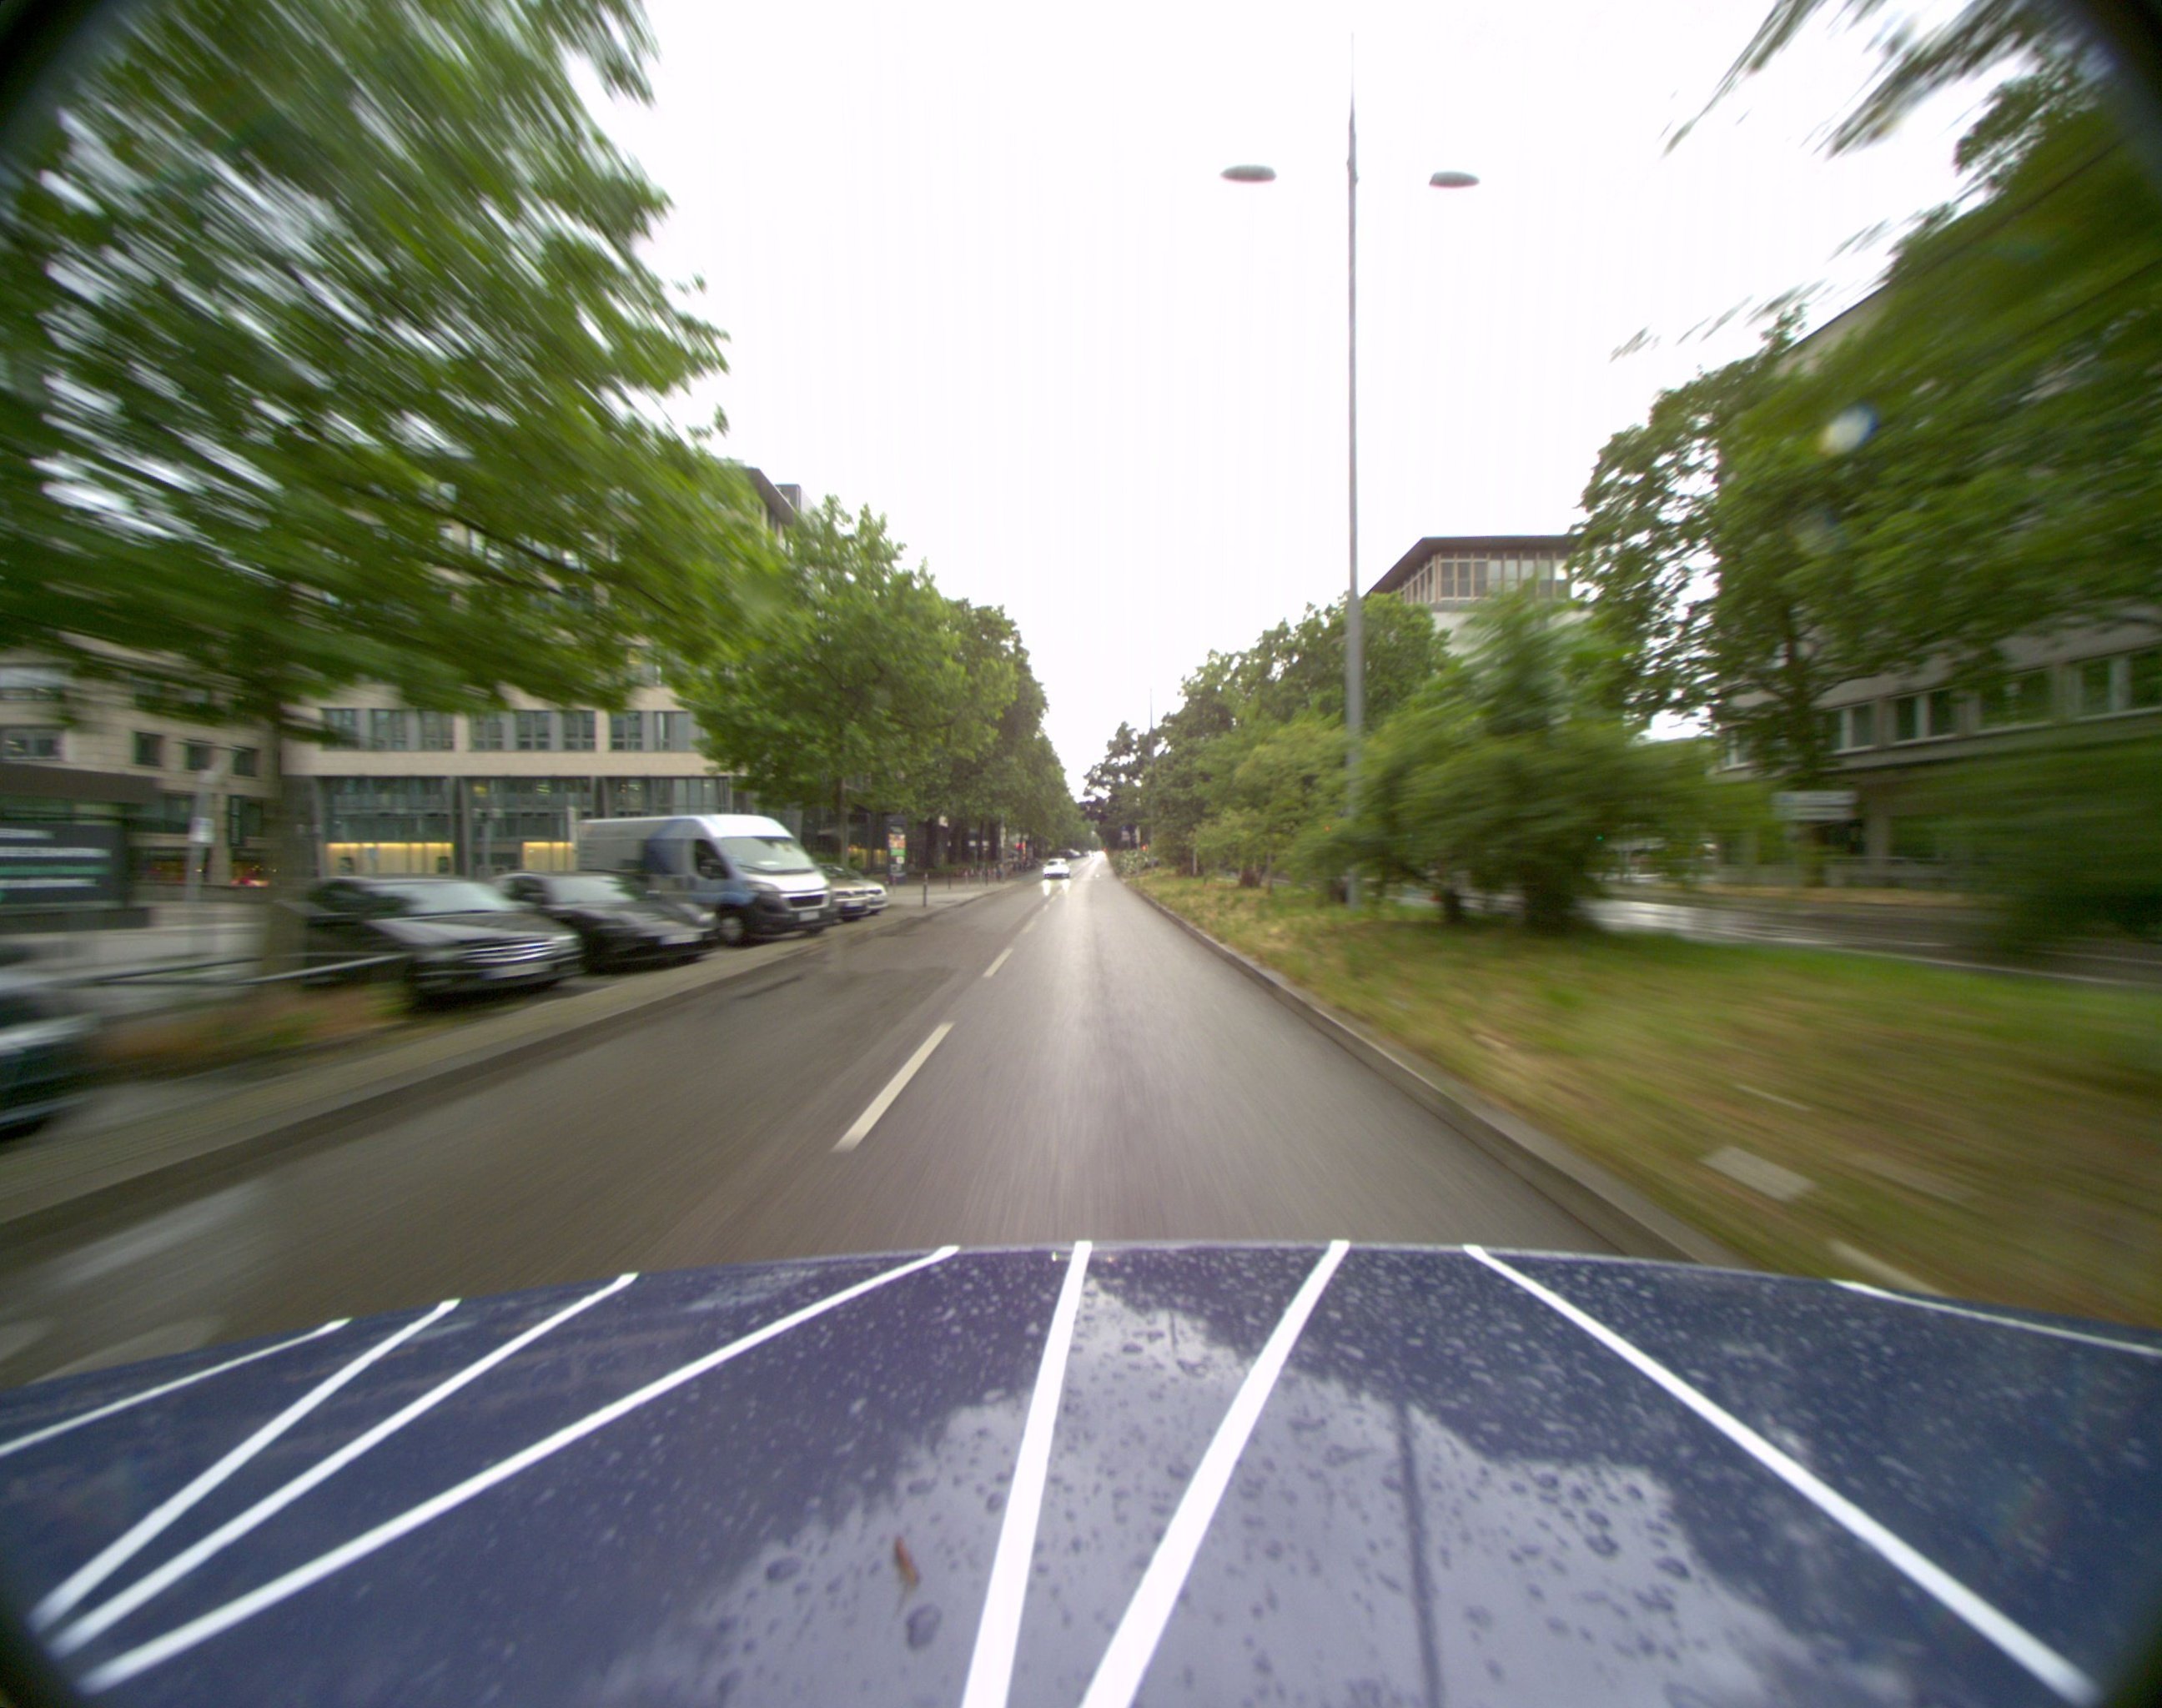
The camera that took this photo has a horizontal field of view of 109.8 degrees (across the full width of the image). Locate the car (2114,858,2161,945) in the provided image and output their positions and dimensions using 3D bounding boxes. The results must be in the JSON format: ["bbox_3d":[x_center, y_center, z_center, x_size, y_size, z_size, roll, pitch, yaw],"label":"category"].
[{"bbox_3d":[18.707,0.829,10.731,1.773,1.426,4.671,2,0,-1],"label":"car"}]

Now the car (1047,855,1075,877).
[{"bbox_3d":[-1.490,0.900,57.002,1.795,1.463,3.794,-2,1,2],"label":"car"}]

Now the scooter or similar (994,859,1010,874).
[{"bbox_3d":[-6.772,1.070,65.362,1.292,1.228,0.489,0,0,4],"label":"scooter or similar"}]

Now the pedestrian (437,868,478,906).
[{"bbox_3d":[-28.760,1.533,35.074,1.186,1.686,0.808,-2,1,7],"label":"pedestrian"}]

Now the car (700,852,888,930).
[{"bbox_3d":[-6.964,0.854,18.373,4.259,1.658,1.821,-1,1,28],"label":"car"}]

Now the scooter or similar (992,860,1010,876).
[{"bbox_3d":[-6.519,1.130,61.921,1.291,1.252,0.490,0,-1,13],"label":"scooter or similar"}]

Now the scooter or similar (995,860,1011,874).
[{"bbox_3d":[-6.751,1.132,66.106,1.292,1.228,0.489,0,0,4],"label":"scooter or similar"}]

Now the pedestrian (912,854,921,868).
[{"bbox_3d":[-18.885,0.787,87.185,0.727,1.683,0.830,0,1,44],"label":"pedestrian"}]

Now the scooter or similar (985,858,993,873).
[{"bbox_3d":[-7.748,0.949,64.266,0.489,1.252,1.294,0,-1,2],"label":"scooter or similar"}]

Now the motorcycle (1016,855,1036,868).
[{"bbox_3d":[-5.708,0.809,78.616,1.963,1.365,0.728,0,-1,-14],"label":"motorcycle"}]

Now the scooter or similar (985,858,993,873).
[{"bbox_3d":[-7.748,0.949,64.266,0.489,1.252,1.294,0,-1,2],"label":"scooter or similar"}]

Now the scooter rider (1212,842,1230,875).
[{"bbox_3d":[8.449,0.257,45.971,0.902,1.929,0.757,-1,1,-2],"label":"scooter rider"}]

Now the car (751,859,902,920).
[{"bbox_3d":[-7.041,0.980,21.101,3.652,1.538,1.717,-1,1,21],"label":"car"}]

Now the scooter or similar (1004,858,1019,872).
[{"bbox_3d":[-6.320,1.030,68.886,1.292,1.270,0.537,0,-1,6],"label":"scooter or similar"}]

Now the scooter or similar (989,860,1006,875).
[{"bbox_3d":[-6.878,1.131,62.467,1.291,1.252,0.490,0,-1,13],"label":"scooter or similar"}]

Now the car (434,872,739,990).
[{"bbox_3d":[-7.562,1.036,11.570,4.390,1.428,1.944,-1,1,28],"label":"car"}]

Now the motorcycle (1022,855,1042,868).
[{"bbox_3d":[-5.297,0.802,81.756,1.963,1.365,0.728,1,-1,-19],"label":"motorcycle"}]

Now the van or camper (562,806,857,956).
[{"bbox_3d":[-7.523,0.468,15.199,6.069,2.544,2.108,-1,1,29],"label":"van or camper"}]

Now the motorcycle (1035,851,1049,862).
[{"bbox_3d":[-5.434,0.343,105.209,0.682,1.359,1.950,4,2,42],"label":"motorcycle"}]

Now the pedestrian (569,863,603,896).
[{"bbox_3d":[-28.639,1.475,43.981,1.276,1.840,0.920,-2,2,-2],"label":"pedestrian"}]

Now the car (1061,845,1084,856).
[{"bbox_3d":[-2.384,-0.991,209.968,6.267,2.665,2.326,-1,2,38],"label":"car"}]

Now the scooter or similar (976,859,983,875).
[{"bbox_3d":[-8.077,1.044,60.484,0.489,1.191,1.292,-2,2,-8],"label":"scooter or similar"}]

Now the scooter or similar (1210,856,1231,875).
[{"bbox_3d":[8.436,0.666,46.023,1.185,1.107,0.435,-1,1,-2],"label":"scooter or similar"}]

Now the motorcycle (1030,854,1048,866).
[{"bbox_3d":[-4.975,0.737,89.619,2.062,1.420,0.728,1,-1,-19],"label":"motorcycle"}]

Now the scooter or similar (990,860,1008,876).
[{"bbox_3d":[-6.615,1.147,61.313,1.291,1.252,0.490,0,-1,13],"label":"scooter or similar"}]

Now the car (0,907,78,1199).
[{"bbox_3d":[-7.698,1.067,4.256,4.367,1.428,1.765,-1,1,28],"label":"car"}]

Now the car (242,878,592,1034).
[{"bbox_3d":[-8.033,1.055,9.140,4.202,1.428,1.723,-1,1,28],"label":"car"}]

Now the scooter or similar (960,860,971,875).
[{"bbox_3d":[-9.243,1.078,60.748,0.490,1.191,1.290,-2,2,-29],"label":"scooter or similar"}]

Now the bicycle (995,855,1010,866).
[{"bbox_3d":[-8.085,0.671,78.458,0.637,1.022,1.766,-1,1,31],"label":"bicycle"}]

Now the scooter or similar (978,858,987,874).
[{"bbox_3d":[-8.166,0.990,63.049,0.489,1.252,1.294,0,-1,2],"label":"scooter or similar"}]

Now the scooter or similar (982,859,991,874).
[{"bbox_3d":[-7.645,1.010,61.326,0.489,1.252,1.294,0,-1,2],"label":"scooter or similar"}]
